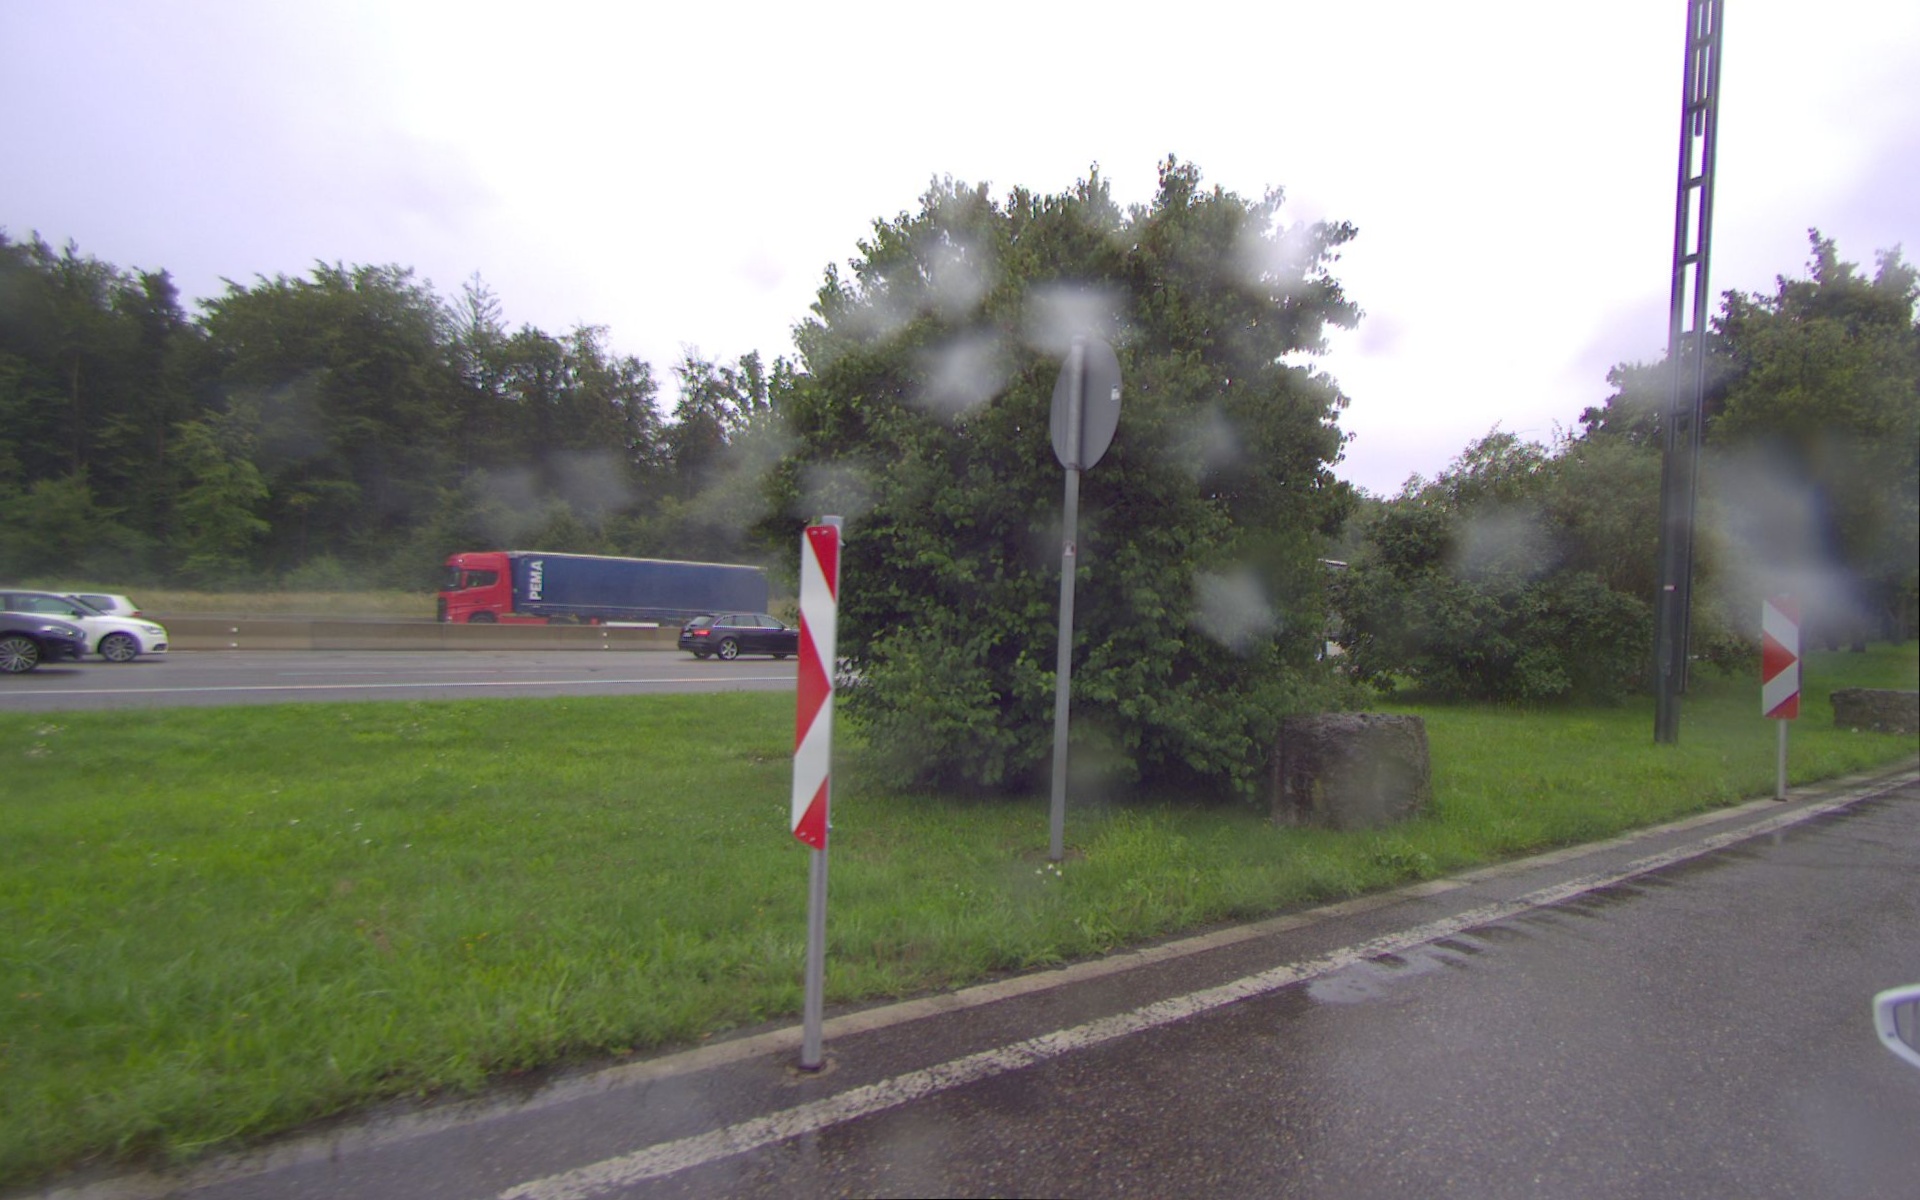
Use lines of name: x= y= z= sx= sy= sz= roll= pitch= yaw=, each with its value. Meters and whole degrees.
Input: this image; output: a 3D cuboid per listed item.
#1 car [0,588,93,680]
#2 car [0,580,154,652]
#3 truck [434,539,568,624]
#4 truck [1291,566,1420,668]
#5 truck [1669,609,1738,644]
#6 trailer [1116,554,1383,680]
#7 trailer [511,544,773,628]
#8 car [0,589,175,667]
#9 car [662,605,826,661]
car: x=-17.146 y=0.499 z=16.363 sx=4.471 sy=1.500 sz=1.862 roll=3 pitch=-2 yaw=-43
car: x=-25.584 y=0.418 z=28.923 sx=3.623 sy=1.762 sz=1.661 roll=-2 pitch=7 yaw=-41
truck: x=-21.390 y=-0.830 z=46.926 sx=5.131 sy=3.556 sz=2.170 roll=3 pitch=2 yaw=-42
truck: x=17.121 y=0.812 z=43.298 sx=5.891 sy=4.105 sz=2.846 roll=3 pitch=-2 yaw=-42
truck: x=75.884 y=2.636 z=102.622 sx=1.984 sy=3.044 sz=5.200 roll=0 pitch=4 yaw=-40
trailer: x=11.482 y=0.864 z=38.113 sx=14.017 sy=4.035 sz=2.868 roll=3 pitch=-3 yaw=-43
trailer: x=-15.955 y=-0.551 z=51.824 sx=13.038 sy=3.543 sz=2.170 roll=3 pitch=2 yaw=-42
car: x=-18.823 y=0.547 z=20.390 sx=4.466 sy=1.500 sz=1.864 roll=4 pitch=-2 yaw=-40
car: x=-6.557 y=1.035 z=30.774 sx=4.492 sy=1.560 sz=1.977 roll=4 pitch=-2 yaw=-40
